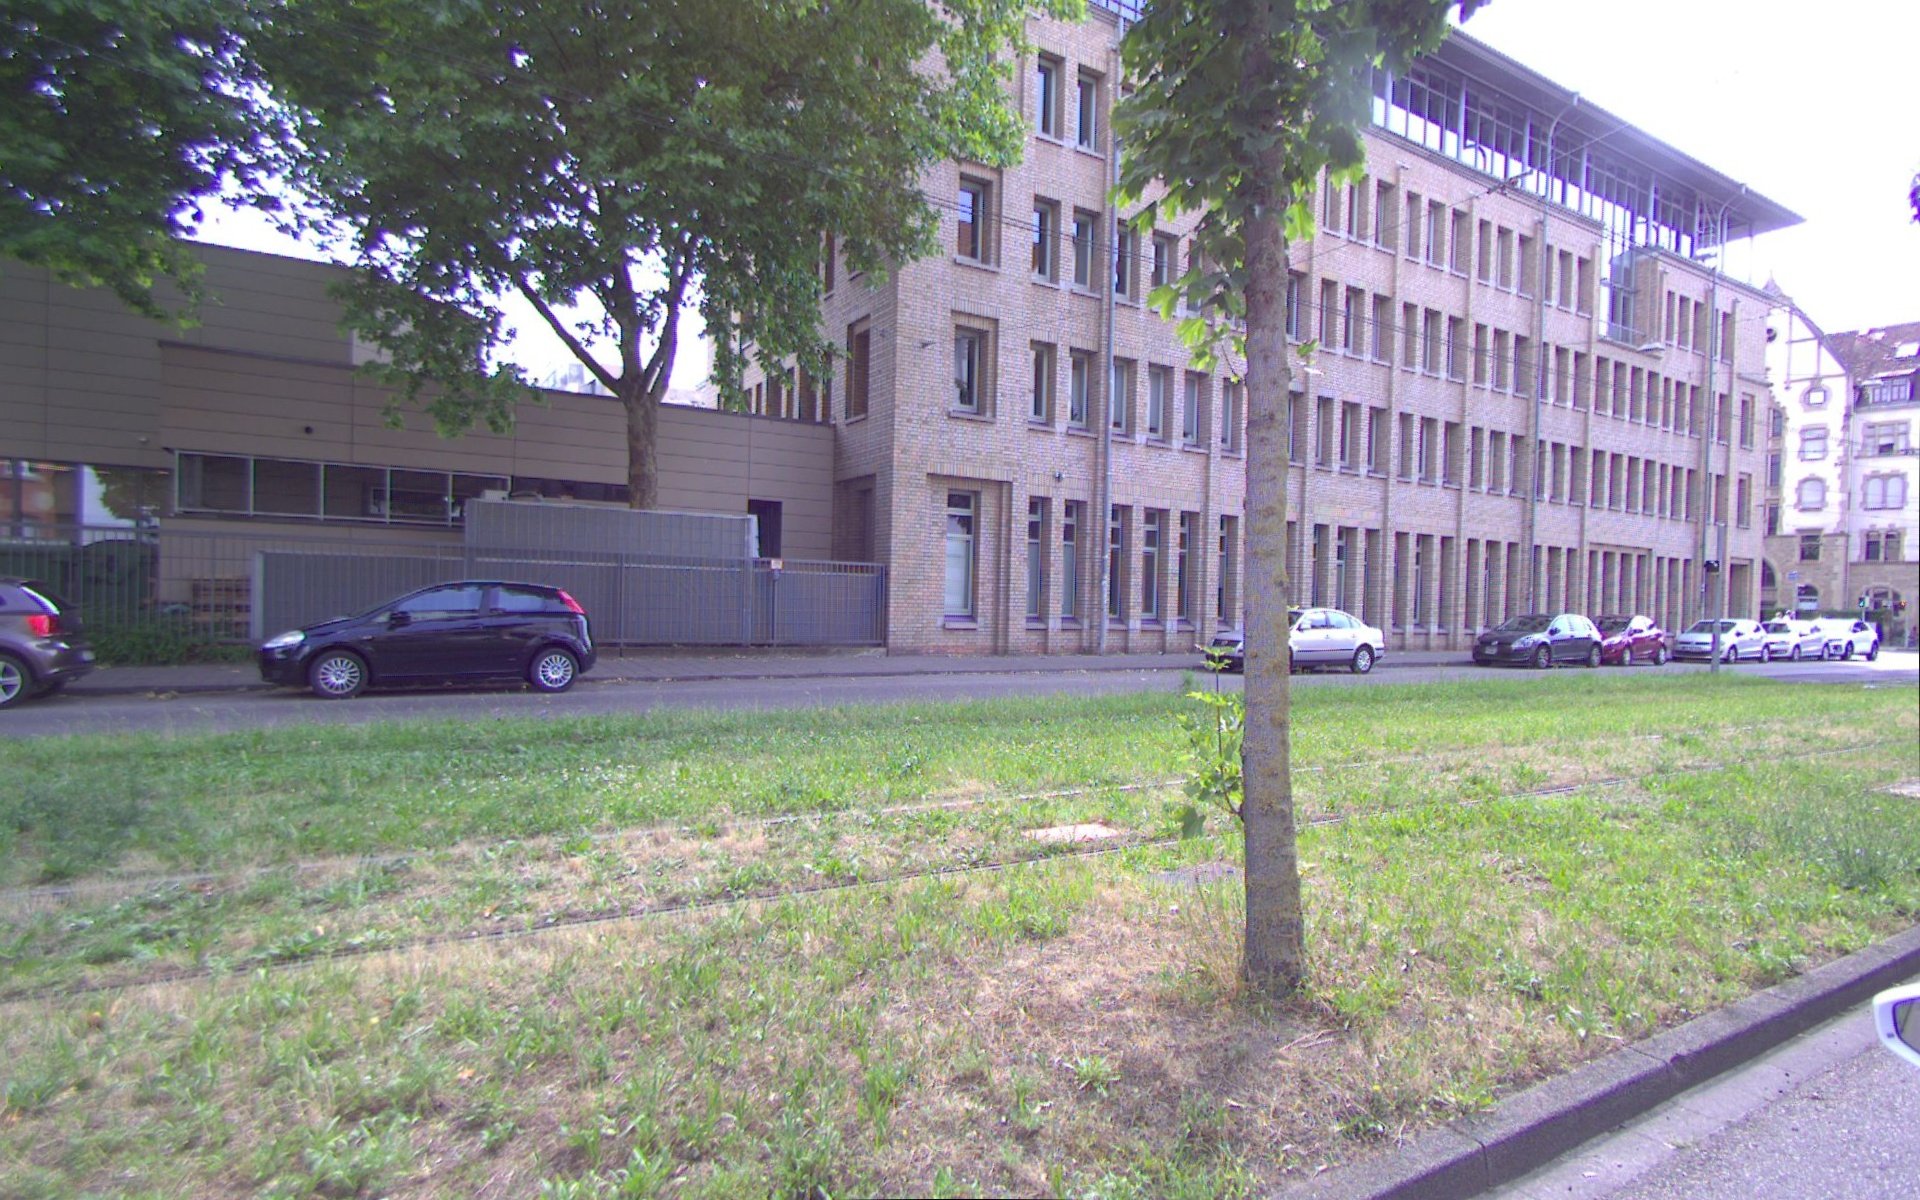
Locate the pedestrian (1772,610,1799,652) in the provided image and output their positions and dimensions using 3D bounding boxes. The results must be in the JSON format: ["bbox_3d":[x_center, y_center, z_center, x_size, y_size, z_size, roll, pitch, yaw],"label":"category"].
[{"bbox_3d":[36.119,1.349,43.971,0.749,1.819,0.957,2,1,34],"label":"pedestrian"}]

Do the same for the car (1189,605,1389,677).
[{"bbox_3d":[7.356,0.890,22.337,4.432,1.415,1.707,1,0,-30],"label":"car"}]

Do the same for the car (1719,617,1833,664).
[{"bbox_3d":[29.484,1.445,36.285,3.967,1.551,1.924,1,0,-30],"label":"car"}]

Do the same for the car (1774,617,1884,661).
[{"bbox_3d":[33.337,1.480,38.523,4.207,1.555,1.924,1,0,-30],"label":"car"}]

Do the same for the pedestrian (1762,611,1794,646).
[{"bbox_3d":[42.500,1.491,52.210,1.003,1.745,0.776,2,1,15],"label":"pedestrian"}]

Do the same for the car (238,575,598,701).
[{"bbox_3d":[-7.053,0.472,13.411,3.950,1.472,1.795,1,0,-28],"label":"car"}]

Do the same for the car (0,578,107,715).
[{"bbox_3d":[-11.691,0.453,10.605,3.857,1.445,1.546,1,0,-31],"label":"car"}]

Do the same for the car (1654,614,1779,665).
[{"bbox_3d":[25.138,1.283,33.362,4.160,1.551,1.842,1,0,-30],"label":"car"}]

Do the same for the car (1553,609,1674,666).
[{"bbox_3d":[19.495,1.106,29.943,3.507,1.551,1.575,1,0,-30],"label":"car"}]

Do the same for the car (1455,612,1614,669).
[{"bbox_3d":[15.768,1.090,27.546,4.189,1.415,1.924,1,0,-30],"label":"car"}]
